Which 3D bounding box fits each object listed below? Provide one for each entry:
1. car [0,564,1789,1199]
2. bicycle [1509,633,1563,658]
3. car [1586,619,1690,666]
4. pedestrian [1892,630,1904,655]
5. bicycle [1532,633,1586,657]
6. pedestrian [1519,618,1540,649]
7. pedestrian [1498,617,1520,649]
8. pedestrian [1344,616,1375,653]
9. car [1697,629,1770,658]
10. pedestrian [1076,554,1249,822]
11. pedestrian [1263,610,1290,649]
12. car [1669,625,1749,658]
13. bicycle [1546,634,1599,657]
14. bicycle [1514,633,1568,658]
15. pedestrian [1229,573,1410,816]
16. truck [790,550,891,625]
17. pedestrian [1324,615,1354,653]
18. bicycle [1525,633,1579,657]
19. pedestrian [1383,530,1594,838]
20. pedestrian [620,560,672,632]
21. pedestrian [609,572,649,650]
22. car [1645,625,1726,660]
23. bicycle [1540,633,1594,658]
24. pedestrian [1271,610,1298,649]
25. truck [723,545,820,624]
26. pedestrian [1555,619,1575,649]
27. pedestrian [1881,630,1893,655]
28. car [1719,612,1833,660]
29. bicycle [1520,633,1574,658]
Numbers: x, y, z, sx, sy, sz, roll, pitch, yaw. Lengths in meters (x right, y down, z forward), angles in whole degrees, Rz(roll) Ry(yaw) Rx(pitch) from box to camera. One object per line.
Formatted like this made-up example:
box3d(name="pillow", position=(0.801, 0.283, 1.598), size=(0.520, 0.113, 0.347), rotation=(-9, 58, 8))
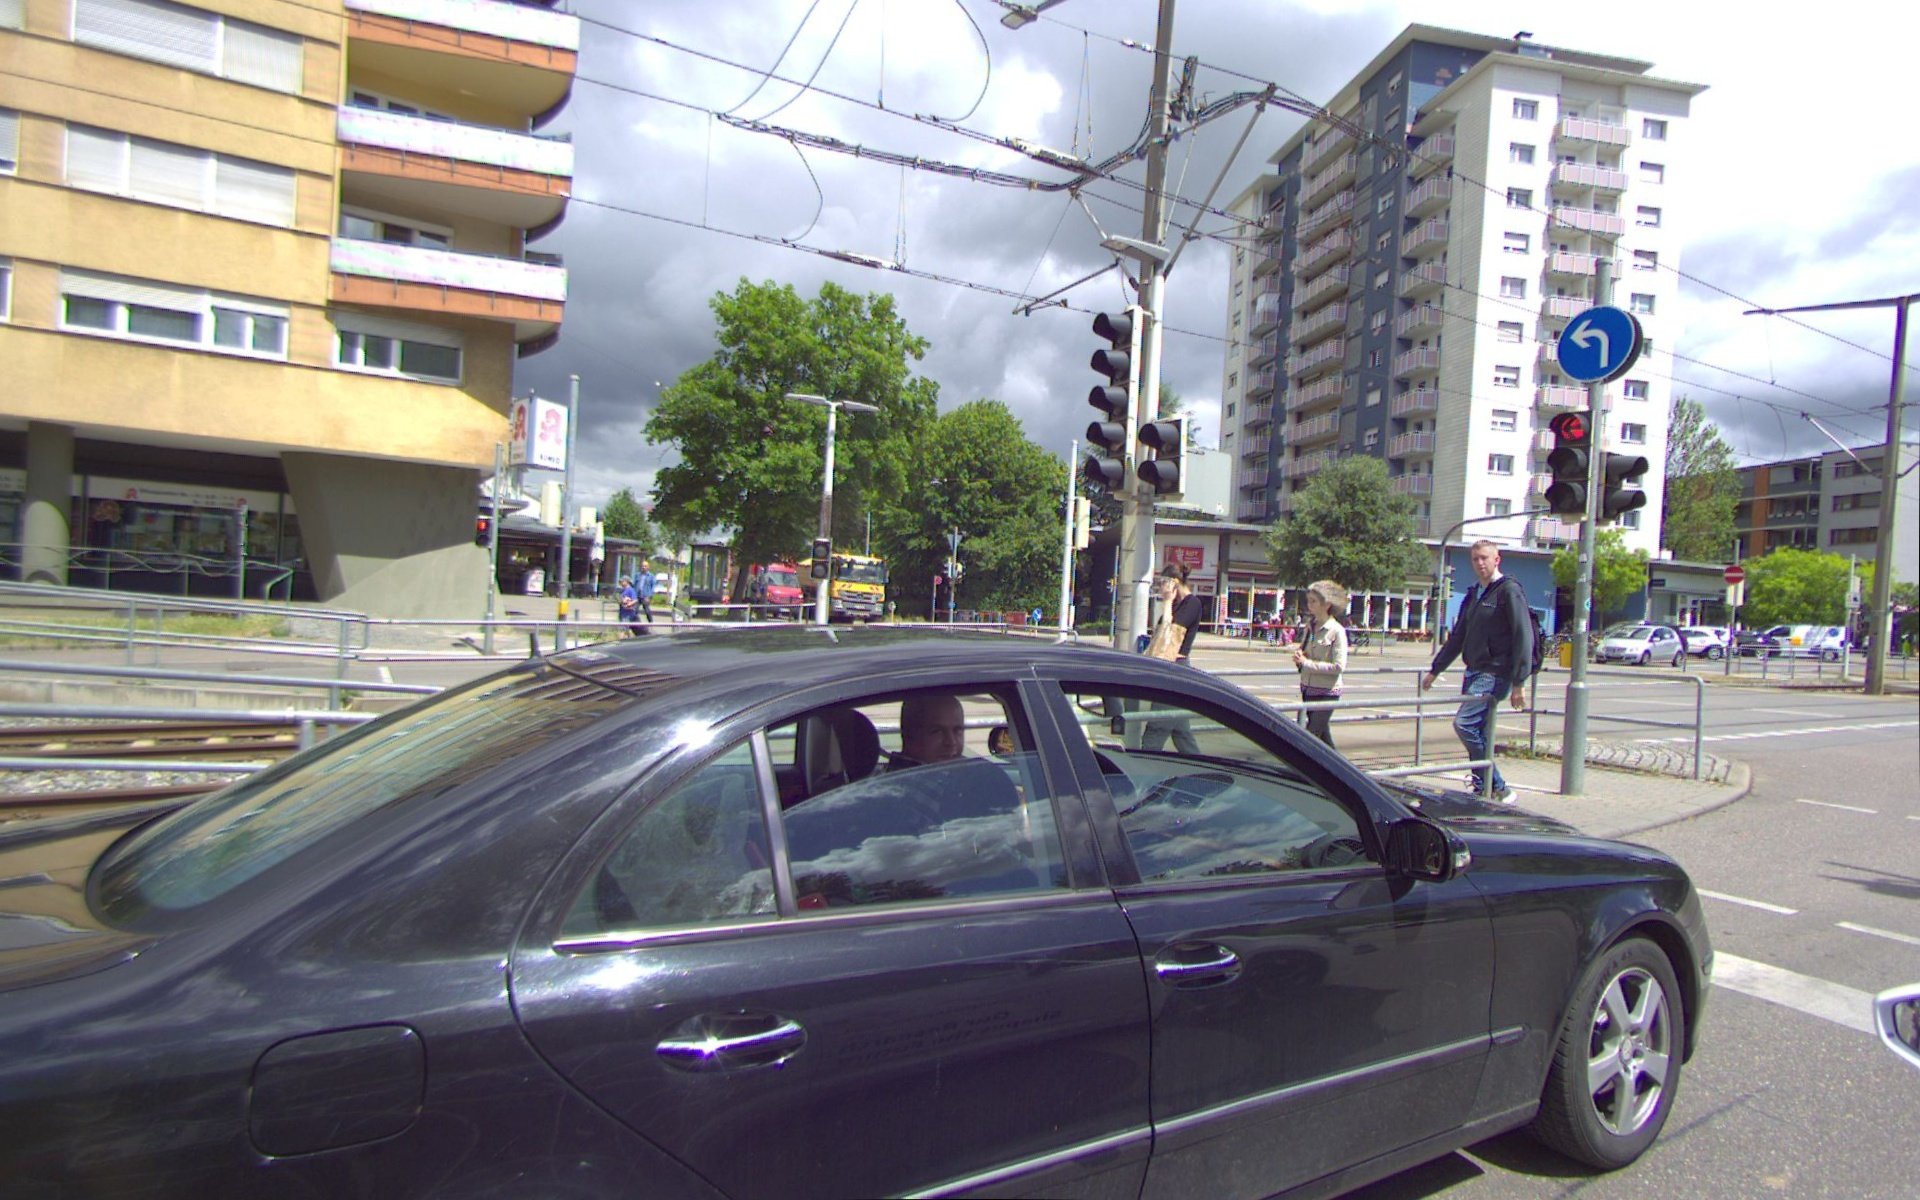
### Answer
box3d(name="car", position=(0.108, 0.739, 2.622), size=(4.491, 1.481, 1.720), rotation=(2, 0, -30))
box3d(name="bicycle", position=(24.161, 1.885, 42.143), size=(0.490, 0.947, 1.933), rotation=(2, 0, -35))
box3d(name="car", position=(26.900, 1.690, 39.861), size=(3.827, 1.715, 1.928), rotation=(2, 0, -30))
box3d(name="pedestrian", position=(66.841, 3.029, 71.585), size=(0.663, 1.739, 0.542), rotation=(1, 0, -40))
box3d(name="bicycle", position=(25.789, 1.945, 43.264), size=(0.490, 0.947, 1.933), rotation=(2, 0, -35))
box3d(name="pedestrian", position=(31.031, 1.801, 54.738), size=(0.693, 1.637, 0.760), rotation=(1, 0, -43))
box3d(name="pedestrian", position=(28.122, 1.685, 51.442), size=(0.693, 1.637, 0.760), rotation=(1, 0, -43))
box3d(name="pedestrian", position=(18.746, 1.614, 47.120), size=(0.977, 1.681, 0.969), rotation=(2, -1, -4))
box3d(name="car", position=(43.270, 2.392, 56.313), size=(1.754, 1.439, 4.219), rotation=(2, 0, 15))
box3d(name="pedestrian", position=(1.465, 0.586, 7.318), size=(0.766, 1.789, 0.925), rotation=(1, 1, -41))
box3d(name="pedestrian", position=(13.927, 1.294, 44.216), size=(1.077, 1.681, 0.948), rotation=(2, -1, 17))
box3d(name="car", position=(40.502, 2.205, 54.420), size=(1.921, 1.558, 4.220), rotation=(2, 0, 13))
box3d(name="bicycle", position=(26.704, 1.978, 43.840), size=(0.490, 0.947, 1.933), rotation=(2, 0, -35))
box3d(name="bicycle", position=(24.532, 1.899, 42.421), size=(0.490, 0.947, 1.933), rotation=(2, 0, -35))
box3d(name="pedestrian", position=(2.707, 0.675, 7.621), size=(0.943, 1.696, 0.865), rotation=(2, -1, -24))
box3d(name="truck", position=(-5.843, -0.560, 47.973), size=(2.733, 3.244, 7.442), rotation=(2, 0, -23))
box3d(name="pedestrian", position=(17.657, 1.578, 46.847), size=(0.977, 1.681, 0.969), rotation=(2, -1, -4))
box3d(name="bicycle", position=(25.327, 1.928, 42.985), size=(0.490, 0.947, 1.933), rotation=(2, 0, -35))
box3d(name="pedestrian", position=(3.691, 0.537, 7.045), size=(0.888, 1.968, 0.960), rotation=(1, 1, -34))
box3d(name="pedestrian", position=(-7.598, -0.096, 24.332), size=(0.750, 1.636, 0.780), rotation=(7, 1, 13))
box3d(name="pedestrian", position=(-7.298, 0.227, 22.121), size=(0.769, 1.638, 0.761), rotation=(0, 4, -23))
box3d(name="car", position=(37.872, 2.189, 52.554), size=(1.921, 1.591, 4.220), rotation=(2, 0, 13))
box3d(name="bicycle", position=(26.307, 1.963, 43.557), size=(0.490, 0.947, 1.933), rotation=(2, 0, -35))
box3d(name="pedestrian", position=(14.554, 1.319, 45.067), size=(1.077, 1.681, 0.948), rotation=(2, -1, 17))
box3d(name="truck", position=(-9.088, -0.673, 47.456), size=(2.692, 3.320, 8.876), rotation=(2, 0, -23))
box3d(name="pedestrian", position=(33.502, 1.886, 55.650), size=(0.693, 1.637, 0.760), rotation=(1, 0, -43))
box3d(name="pedestrian", position=(64.863, 2.972, 70.272), size=(0.401, 1.739, 0.542), rotation=(1, 0, -39))
box3d(name="car", position=(47.510, 2.013, 58.737), size=(2.776, 2.511, 6.724), rotation=(2, 0, 17))
box3d(name="bicycle", position=(24.942, 1.914, 42.711), size=(0.490, 0.947, 1.933), rotation=(2, 0, -35))
